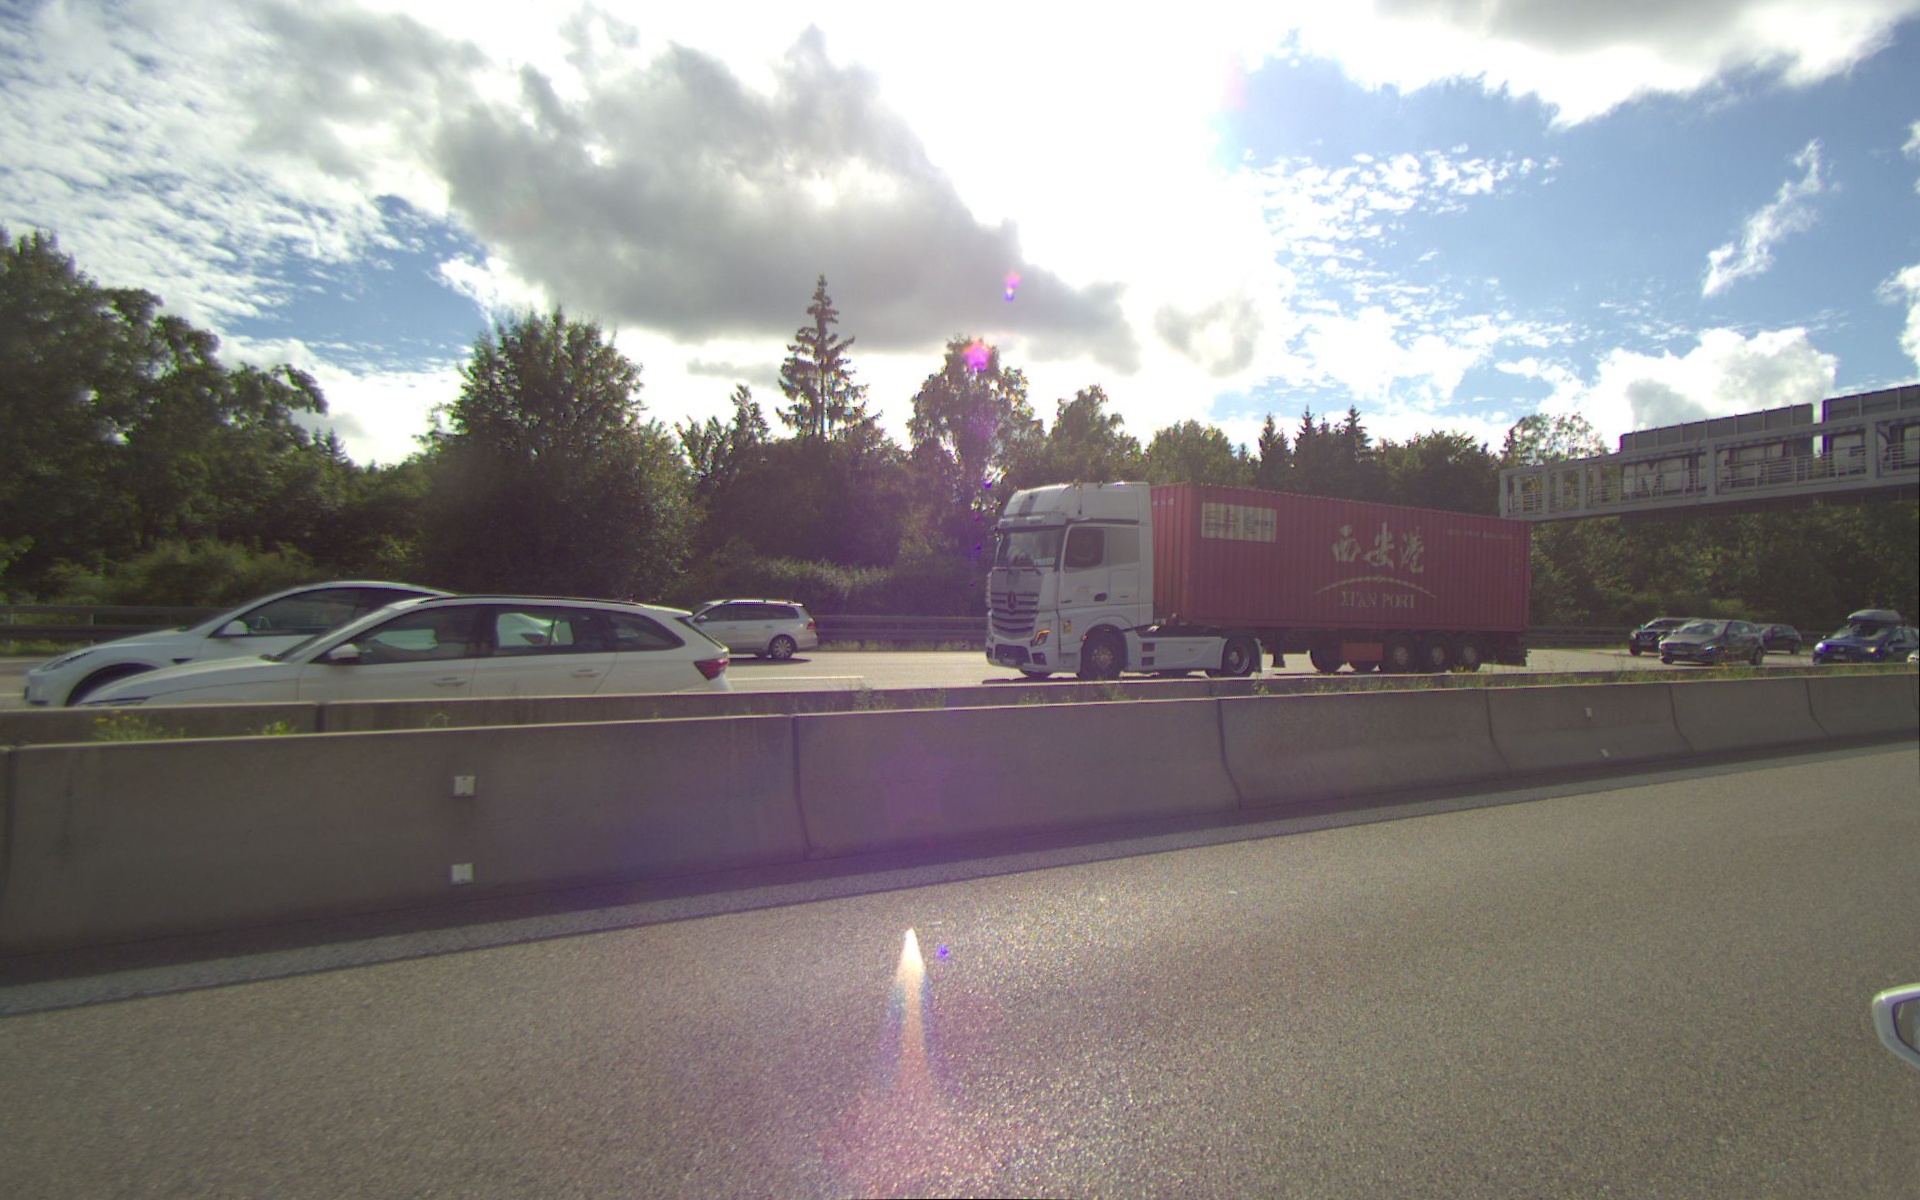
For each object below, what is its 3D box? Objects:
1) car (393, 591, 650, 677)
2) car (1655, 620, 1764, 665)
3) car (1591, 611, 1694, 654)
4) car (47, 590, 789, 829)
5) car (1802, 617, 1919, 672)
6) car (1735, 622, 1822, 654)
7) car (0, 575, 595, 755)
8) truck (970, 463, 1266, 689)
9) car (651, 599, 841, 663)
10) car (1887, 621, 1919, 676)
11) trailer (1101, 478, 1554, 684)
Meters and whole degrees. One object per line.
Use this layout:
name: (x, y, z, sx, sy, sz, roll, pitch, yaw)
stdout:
car: (-8.132, 0.611, 18.747, 4.236, 1.445, 1.617, 1, 0, -31)
car: (26.063, 1.461, 34.907, 3.953, 1.435, 1.630, 1, 0, -30)
car: (28.197, 1.340, 41.462, 4.095, 1.635, 1.809, 1, 0, -28)
car: (-3.977, 0.719, 8.165, 4.795, 1.461, 1.761, 1, 0, -31)
car: (28.338, 1.372, 31.259, 4.627, 1.549, 1.691, 1, 0, -29)
car: (39.520, 1.831, 48.475, 4.651, 1.460, 1.694, 1, 0, -30)
car: (-6.648, 0.598, 10.680, 4.938, 1.546, 1.847, 1, 0, -31)
truck: (3.365, -0.385, 21.116, 5.698, 4.161, 2.725, 1, 0, -31)
car: (-5.321, 0.765, 25.079, 4.230, 1.457, 1.983, 1, 0, -31)
car: (26.852, 1.320, 26.914, 4.497, 1.393, 1.784, 1, 0, -31)
trailer: (9.582, -0.246, 24.836, 13.261, 4.161, 2.725, 1, 0, -31)
